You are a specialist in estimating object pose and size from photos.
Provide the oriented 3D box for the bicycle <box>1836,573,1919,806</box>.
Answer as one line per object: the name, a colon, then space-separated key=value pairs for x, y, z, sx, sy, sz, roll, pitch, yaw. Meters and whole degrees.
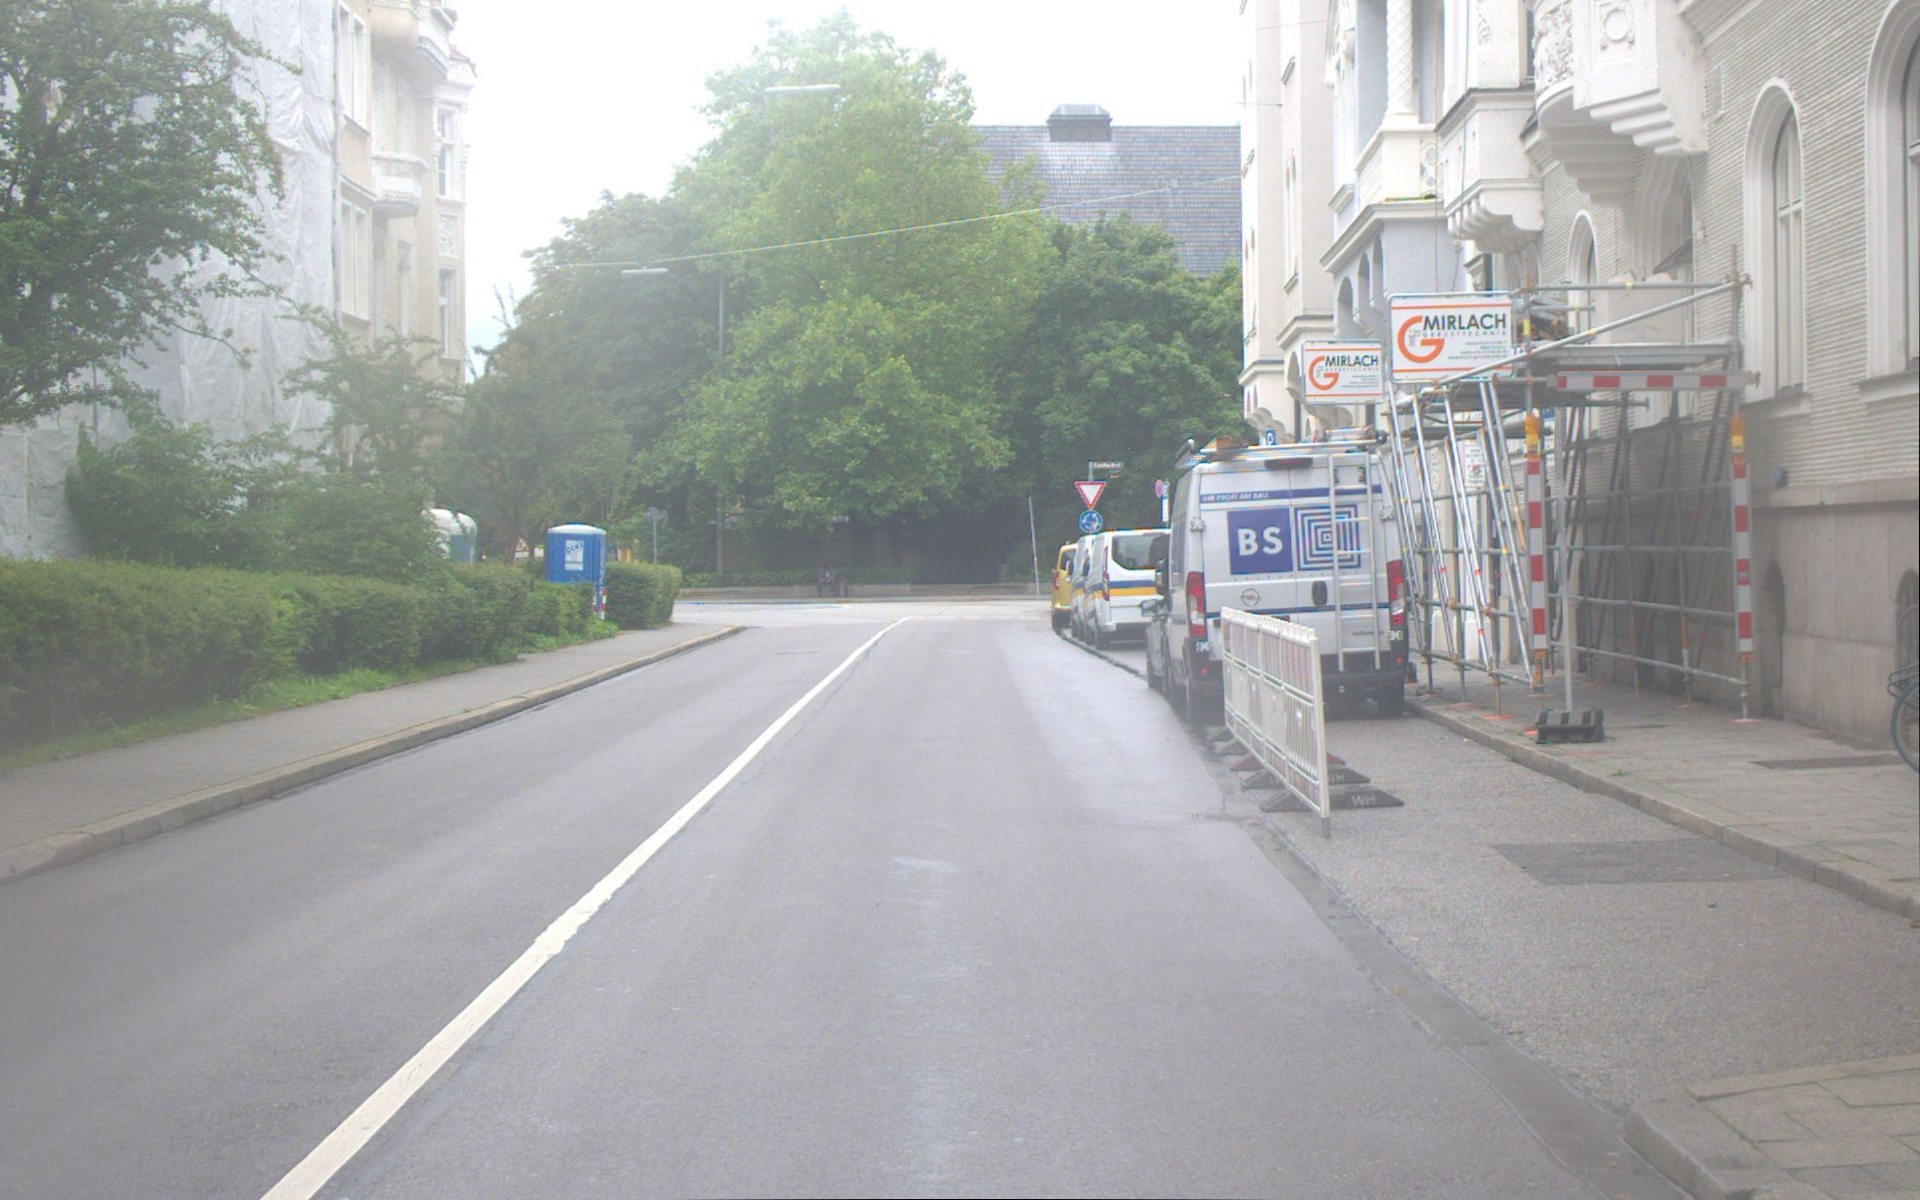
bicycle: x=5.375 y=0.467 z=18.463 sx=0.660 sy=1.202 sz=1.922 roll=-4 pitch=1 yaw=-4

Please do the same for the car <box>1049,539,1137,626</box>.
car: x=2.971 y=-0.420 z=76.082 sx=1.850 sy=1.846 sz=4.820 roll=-1 pitch=1 yaw=3

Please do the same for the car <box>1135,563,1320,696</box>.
car: x=3.060 y=0.303 z=39.995 sx=1.753 sy=1.429 sz=4.087 roll=-1 pitch=1 yaw=-1

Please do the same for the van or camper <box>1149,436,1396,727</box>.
van or camper: x=2.997 y=-0.197 z=34.030 sx=1.953 sy=2.628 sz=5.459 roll=-1 pitch=1 yaw=0

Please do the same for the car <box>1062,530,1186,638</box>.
car: x=3.046 y=-0.318 z=64.814 sx=1.959 sy=1.930 sz=4.993 roll=-1 pitch=1 yaw=-1

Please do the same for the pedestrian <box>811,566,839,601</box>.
pedestrian: x=-4.611 y=-0.576 z=117.247 sx=0.812 sy=1.185 sz=0.919 roll=-1 pitch=1 yaw=7

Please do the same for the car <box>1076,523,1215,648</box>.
car: x=3.112 y=-0.271 z=58.610 sx=1.959 sy=2.007 sz=4.993 roll=-1 pitch=1 yaw=-1
